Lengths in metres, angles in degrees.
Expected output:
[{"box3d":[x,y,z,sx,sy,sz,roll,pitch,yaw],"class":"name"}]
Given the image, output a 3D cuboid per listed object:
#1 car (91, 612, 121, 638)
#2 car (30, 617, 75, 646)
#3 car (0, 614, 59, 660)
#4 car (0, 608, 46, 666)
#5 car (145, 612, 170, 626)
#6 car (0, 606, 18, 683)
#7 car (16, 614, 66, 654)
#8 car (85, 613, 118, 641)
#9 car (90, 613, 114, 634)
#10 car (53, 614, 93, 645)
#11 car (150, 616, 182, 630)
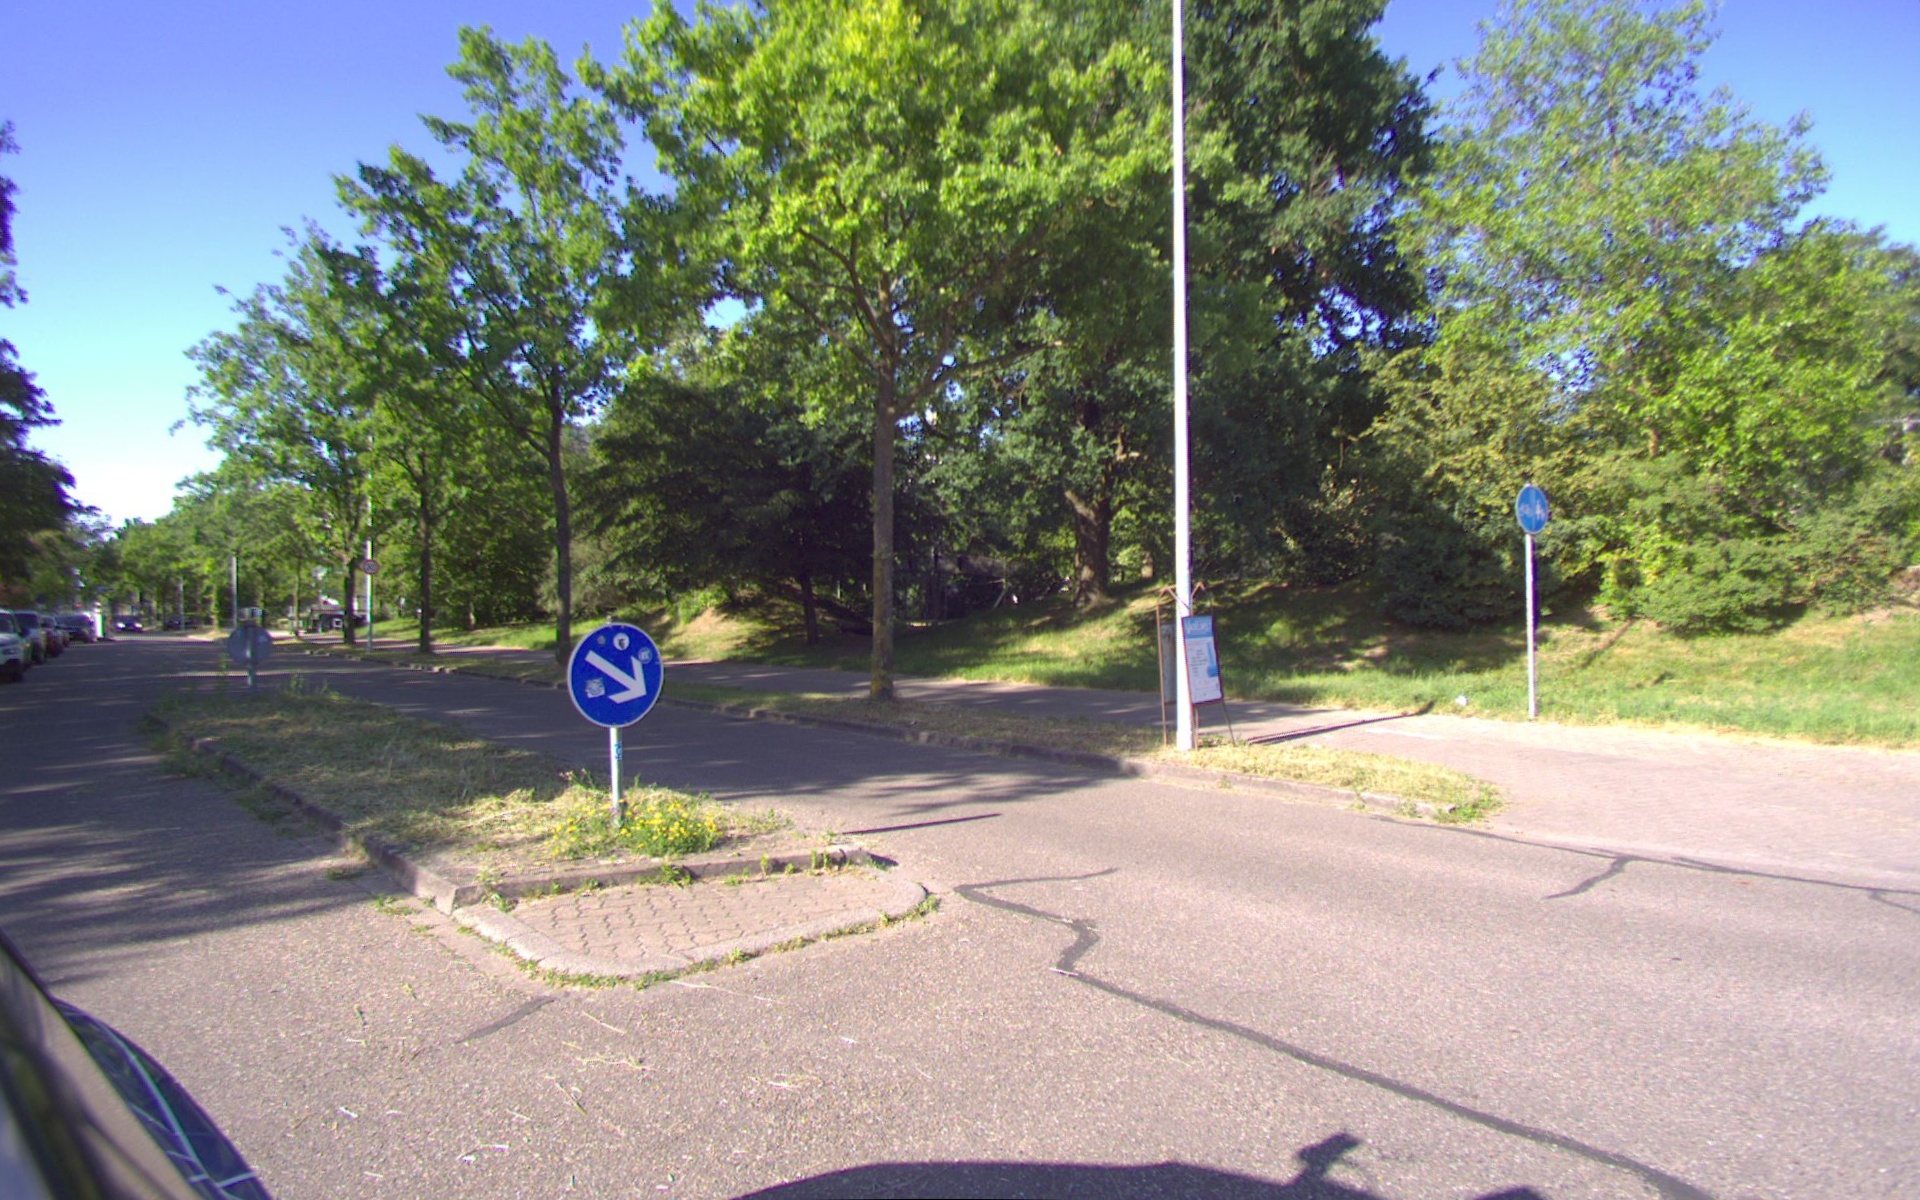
[{"box3d":[-57.880,1.689,68.637,1.427,1.666,3.727,-1,0,-38],"class":"car"},{"box3d":[-46.307,1.583,51.660,1.477,1.369,3.473,-1,0,-38],"class":"car"},{"box3d":[-35.938,1.374,38.983,1.746,1.651,3.759,-1,0,-40],"class":"car"},{"box3d":[-31.057,1.186,33.188,1.478,1.768,3.808,-1,0,-40],"class":"car"},{"box3d":[-91.452,2.168,115.305,1.970,1.595,4.004,1,-1,-43],"class":"car"},{"box3d":[-23.809,1.035,24.293,1.729,1.762,4.639,-1,0,-43],"class":"car"},{"box3d":[-40.169,1.456,44.267,1.478,1.651,3.759,-1,0,-40],"class":"car"},{"box3d":[-55.068,1.709,64.952,1.427,1.666,3.727,-1,0,-38],"class":"car"},{"box3d":[-70.632,1.920,83.328,1.400,1.666,3.917,-1,0,-38],"class":"car"},{"box3d":[-49.992,1.623,57.091,1.477,1.666,4.100,-1,0,-38],"class":"car"},{"box3d":[-78.757,2.270,100.341,4.001,1.377,1.971,0,-1,43],"class":"car"}]
